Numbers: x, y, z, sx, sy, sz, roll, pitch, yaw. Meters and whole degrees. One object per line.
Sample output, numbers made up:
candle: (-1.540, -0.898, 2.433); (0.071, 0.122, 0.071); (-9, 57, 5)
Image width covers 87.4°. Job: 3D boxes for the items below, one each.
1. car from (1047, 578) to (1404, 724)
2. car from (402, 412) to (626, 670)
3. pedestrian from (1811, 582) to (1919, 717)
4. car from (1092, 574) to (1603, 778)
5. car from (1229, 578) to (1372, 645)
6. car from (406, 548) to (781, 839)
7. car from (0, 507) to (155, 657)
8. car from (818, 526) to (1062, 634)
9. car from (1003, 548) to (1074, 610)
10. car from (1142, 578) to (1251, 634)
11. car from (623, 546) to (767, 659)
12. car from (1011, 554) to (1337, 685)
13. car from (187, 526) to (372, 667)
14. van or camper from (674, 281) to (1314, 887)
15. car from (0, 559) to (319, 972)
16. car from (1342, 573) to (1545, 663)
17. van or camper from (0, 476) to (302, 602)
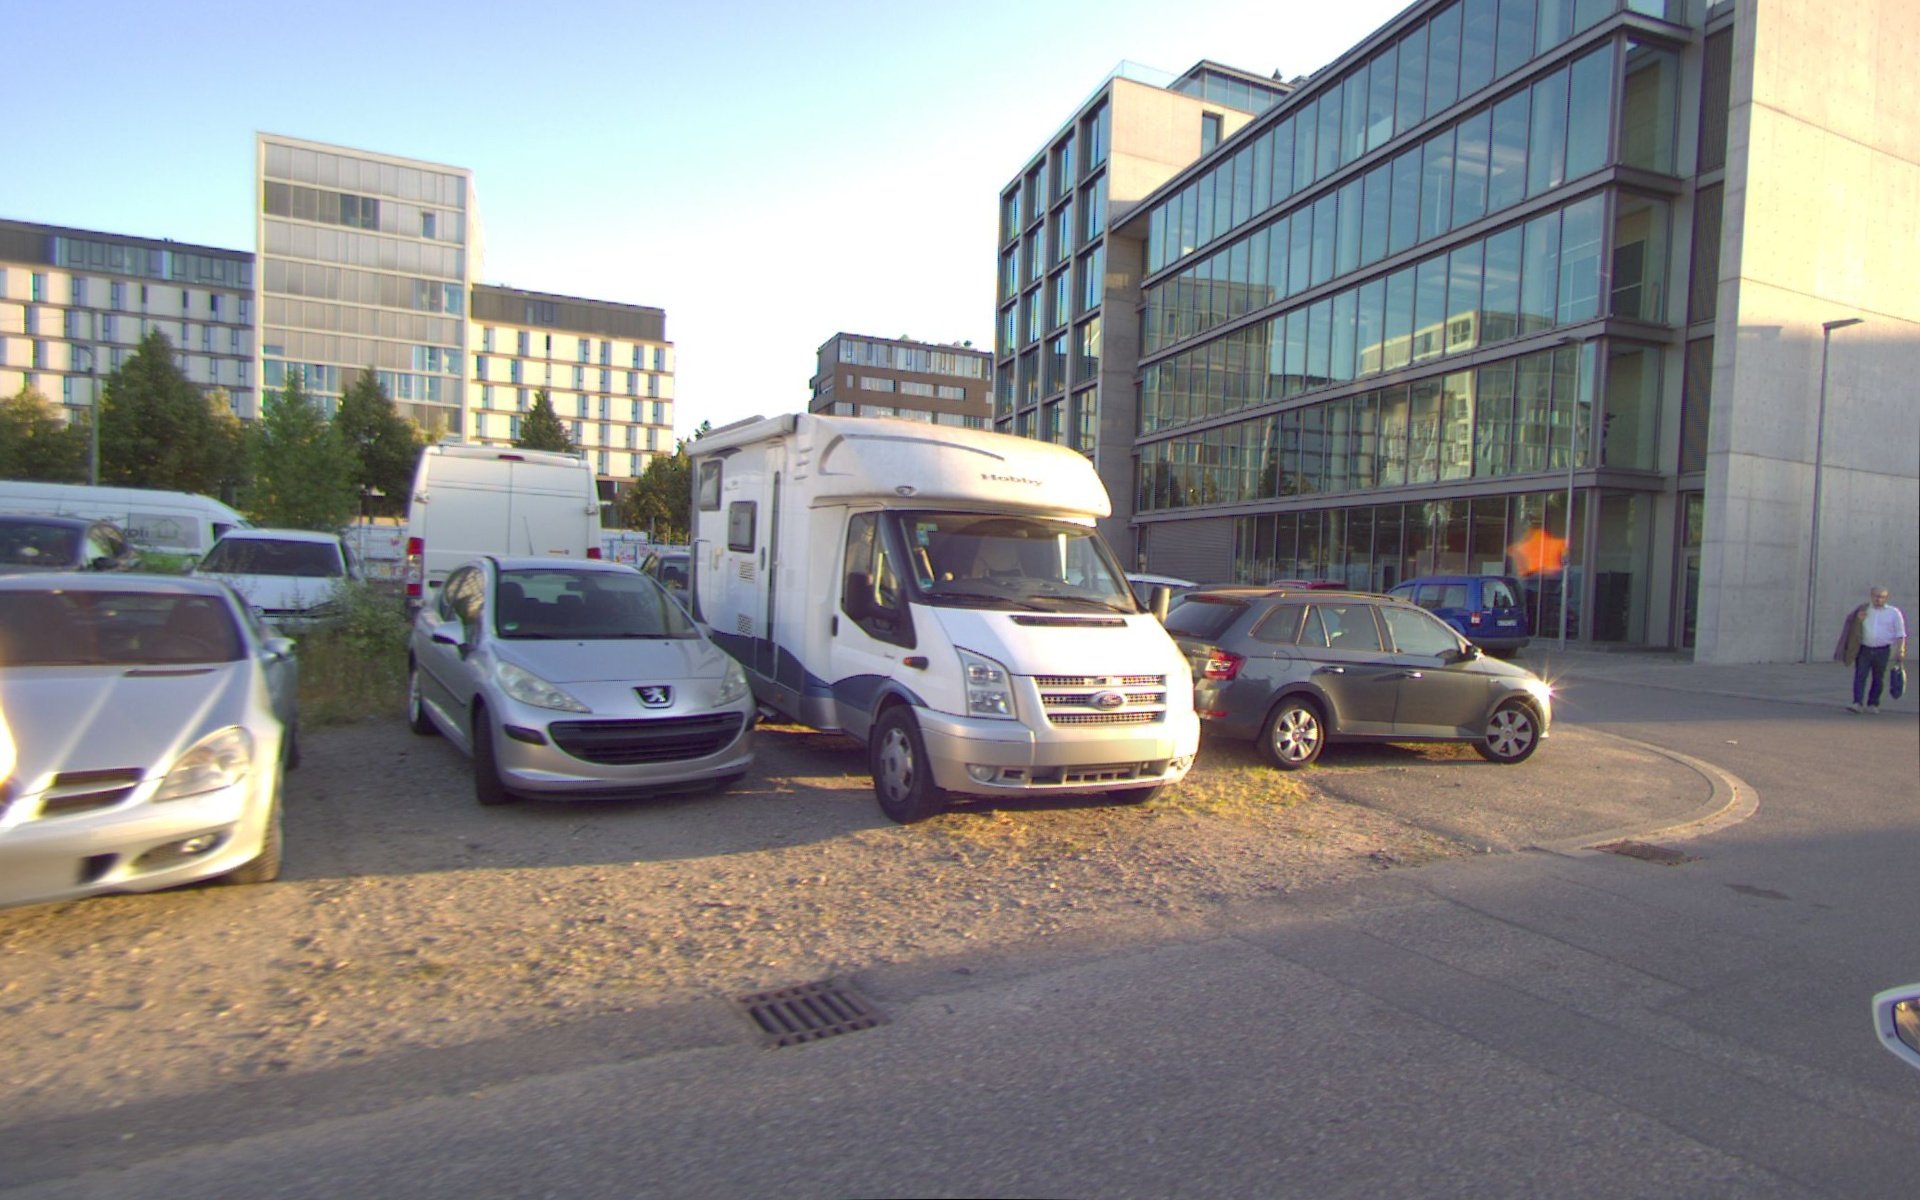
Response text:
car: (3.025, 0.543, 11.516); (3.667, 1.441, 1.659); (2, 1, -22)
car: (-6.146, -0.754, 13.854); (2.193, 2.709, 6.222); (1, 3, -25)
pedestrian: (13.116, 0.682, 14.532); (0.884, 1.875, 0.856); (1, 1, 12)
car: (3.555, 0.647, 9.278); (4.295, 1.539, 1.684); (2, 2, -20)
car: (9.427, 0.259, 28.131); (1.749, 1.652, 4.038); (-1, 2, -18)
car: (-2.847, 0.437, 7.289); (1.676, 1.496, 3.580); (1, 3, -35)
car: (-10.519, -0.282, 11.525); (1.675, 1.496, 3.581); (1, 3, -34)
car: (-0.571, -0.558, 29.888); (6.881, 2.839, 2.202); (2, 2, -22)
car: (3.592, -0.988, 46.701); (1.927, 2.689, 4.041); (2, 1, -15)
car: (7.844, 0.152, 33.711); (1.749, 1.633, 4.038); (-2, 3, -18)
car: (-4.064, -0.029, 15.069); (1.494, 1.467, 3.427); (1, 3, -25)
car: (2.968, 0.274, 13.960); (4.143, 1.499, 1.659); (3, 2, -22)
car: (-8.467, -0.123, 12.597); (1.675, 1.496, 3.581); (1, 3, -34)
van or camper: (-0.515, -0.193, 8.422); (2.377, 2.937, 6.715); (1, 2, -26)
car: (-4.330, 0.536, 5.155); (1.674, 1.346, 3.786); (1, 3, -32)
car: (10.981, 0.316, 23.152); (1.820, 1.856, 4.079); (-1, 2, -20)
van or camper: (-20.256, -1.447, 24.702); (6.554, 2.726, 2.007); (2, 3, -27)
